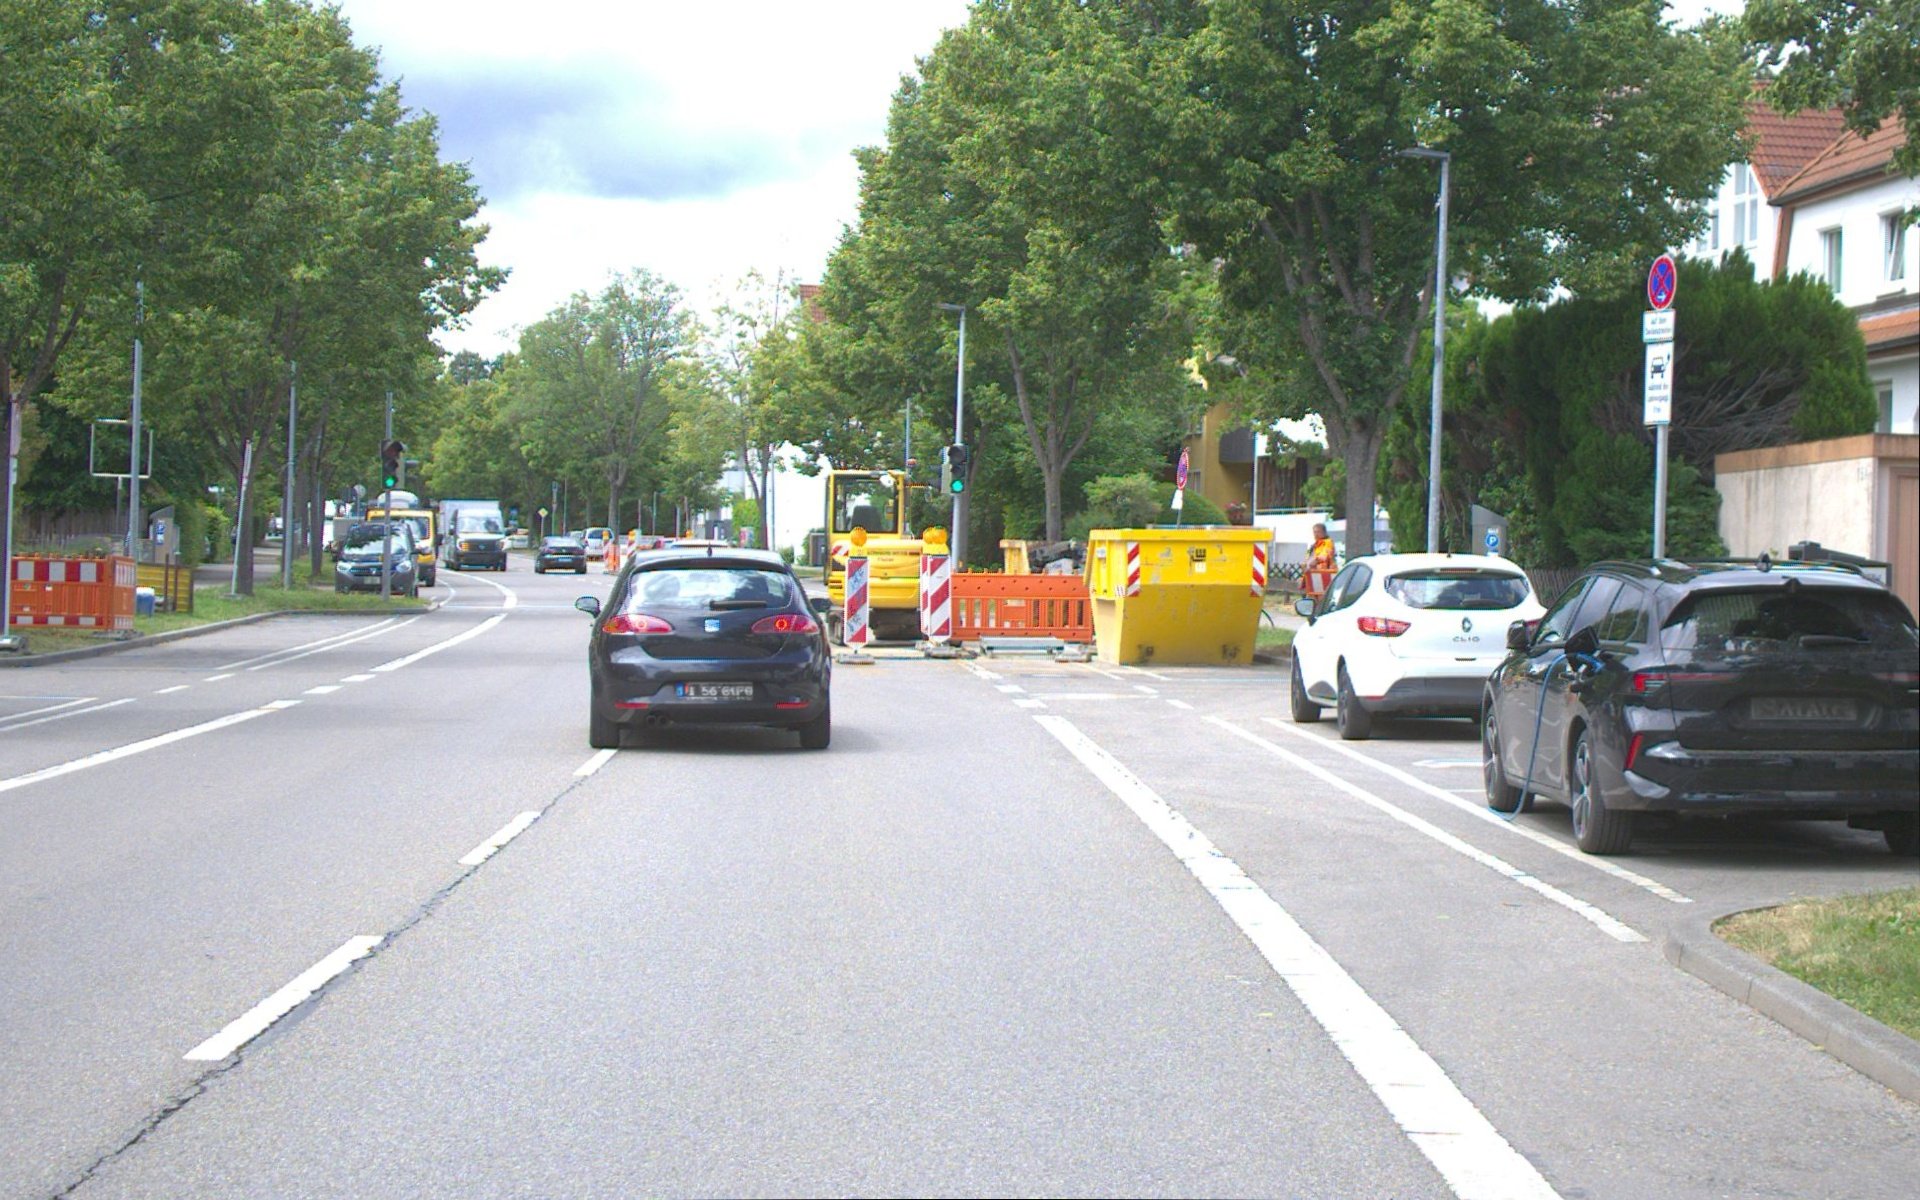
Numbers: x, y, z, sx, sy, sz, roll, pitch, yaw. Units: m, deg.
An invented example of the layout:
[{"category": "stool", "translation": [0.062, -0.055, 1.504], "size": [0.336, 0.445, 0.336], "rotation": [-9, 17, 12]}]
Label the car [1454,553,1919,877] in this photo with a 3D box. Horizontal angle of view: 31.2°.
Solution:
[{"category": "car", "translation": [3.818, 0.498, 18.054], "size": [1.705, 1.449, 4.617], "rotation": [0, 1, -1]}]

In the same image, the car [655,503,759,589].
[{"category": "car", "translation": [-5.102, -1.100, 69.740], "size": [1.905, 1.680, 3.740], "rotation": [0, 1, -1]}]

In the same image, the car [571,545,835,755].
[{"category": "car", "translation": [-1.848, 0.319, 25.712], "size": [1.818, 1.433, 3.740], "rotation": [0, 1, -2]}]

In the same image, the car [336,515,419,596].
[{"category": "car", "translation": [-13.024, -1.024, 77.019], "size": [1.667, 1.766, 4.469], "rotation": [0, 1, -7]}]

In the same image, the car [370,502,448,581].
[{"category": "car", "translation": [-15.795, -1.694, 98.785], "size": [2.092, 2.167, 5.046], "rotation": [1, 1, -8]}]

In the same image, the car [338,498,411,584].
[{"category": "car", "translation": [-18.561, -1.884, 109.148], "size": [2.092, 2.617, 5.046], "rotation": [1, 1, -8]}]

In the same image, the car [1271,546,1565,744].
[{"category": "car", "translation": [3.634, 0.307, 27.920], "size": [1.672, 1.457, 4.001], "rotation": [1, 1, -3]}]

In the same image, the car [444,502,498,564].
[{"category": "car", "translation": [-19.206, -2.644, 135.242], "size": [2.028, 2.376, 5.263], "rotation": [0, 1, -7]}]

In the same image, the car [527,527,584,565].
[{"category": "car", "translation": [-15.340, -2.052, 130.160], "size": [1.809, 1.370, 3.694], "rotation": [1, 1, -12]}]

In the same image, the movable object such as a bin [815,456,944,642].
[{"category": "movable object such as a bin", "translation": [-1.192, -0.755, 49.945], "size": [1.768, 2.565, 3.740], "rotation": [1, 1, -2]}]

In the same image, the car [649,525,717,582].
[{"category": "car", "translation": [-8.081, -1.377, 100.066], "size": [1.790, 1.617, 3.741], "rotation": [0, 1, -7]}]

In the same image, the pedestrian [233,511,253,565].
[{"category": "pedestrian", "translation": [-23.262, -2.024, 111.544], "size": [0.595, 1.735, 0.574], "rotation": [1, 1, -8]}]

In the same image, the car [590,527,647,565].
[{"category": "car", "translation": [-13.055, -2.075, 131.387], "size": [1.809, 1.410, 3.694], "rotation": [1, 1, -11]}]

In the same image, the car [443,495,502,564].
[{"category": "car", "translation": [-20.014, -2.897, 141.387], "size": [2.287, 2.782, 7.145], "rotation": [0, 1, -7]}]

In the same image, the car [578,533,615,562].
[{"category": "car", "translation": [-18.267, -2.652, 172.791], "size": [1.809, 1.410, 3.694], "rotation": [1, 1, -5]}]
